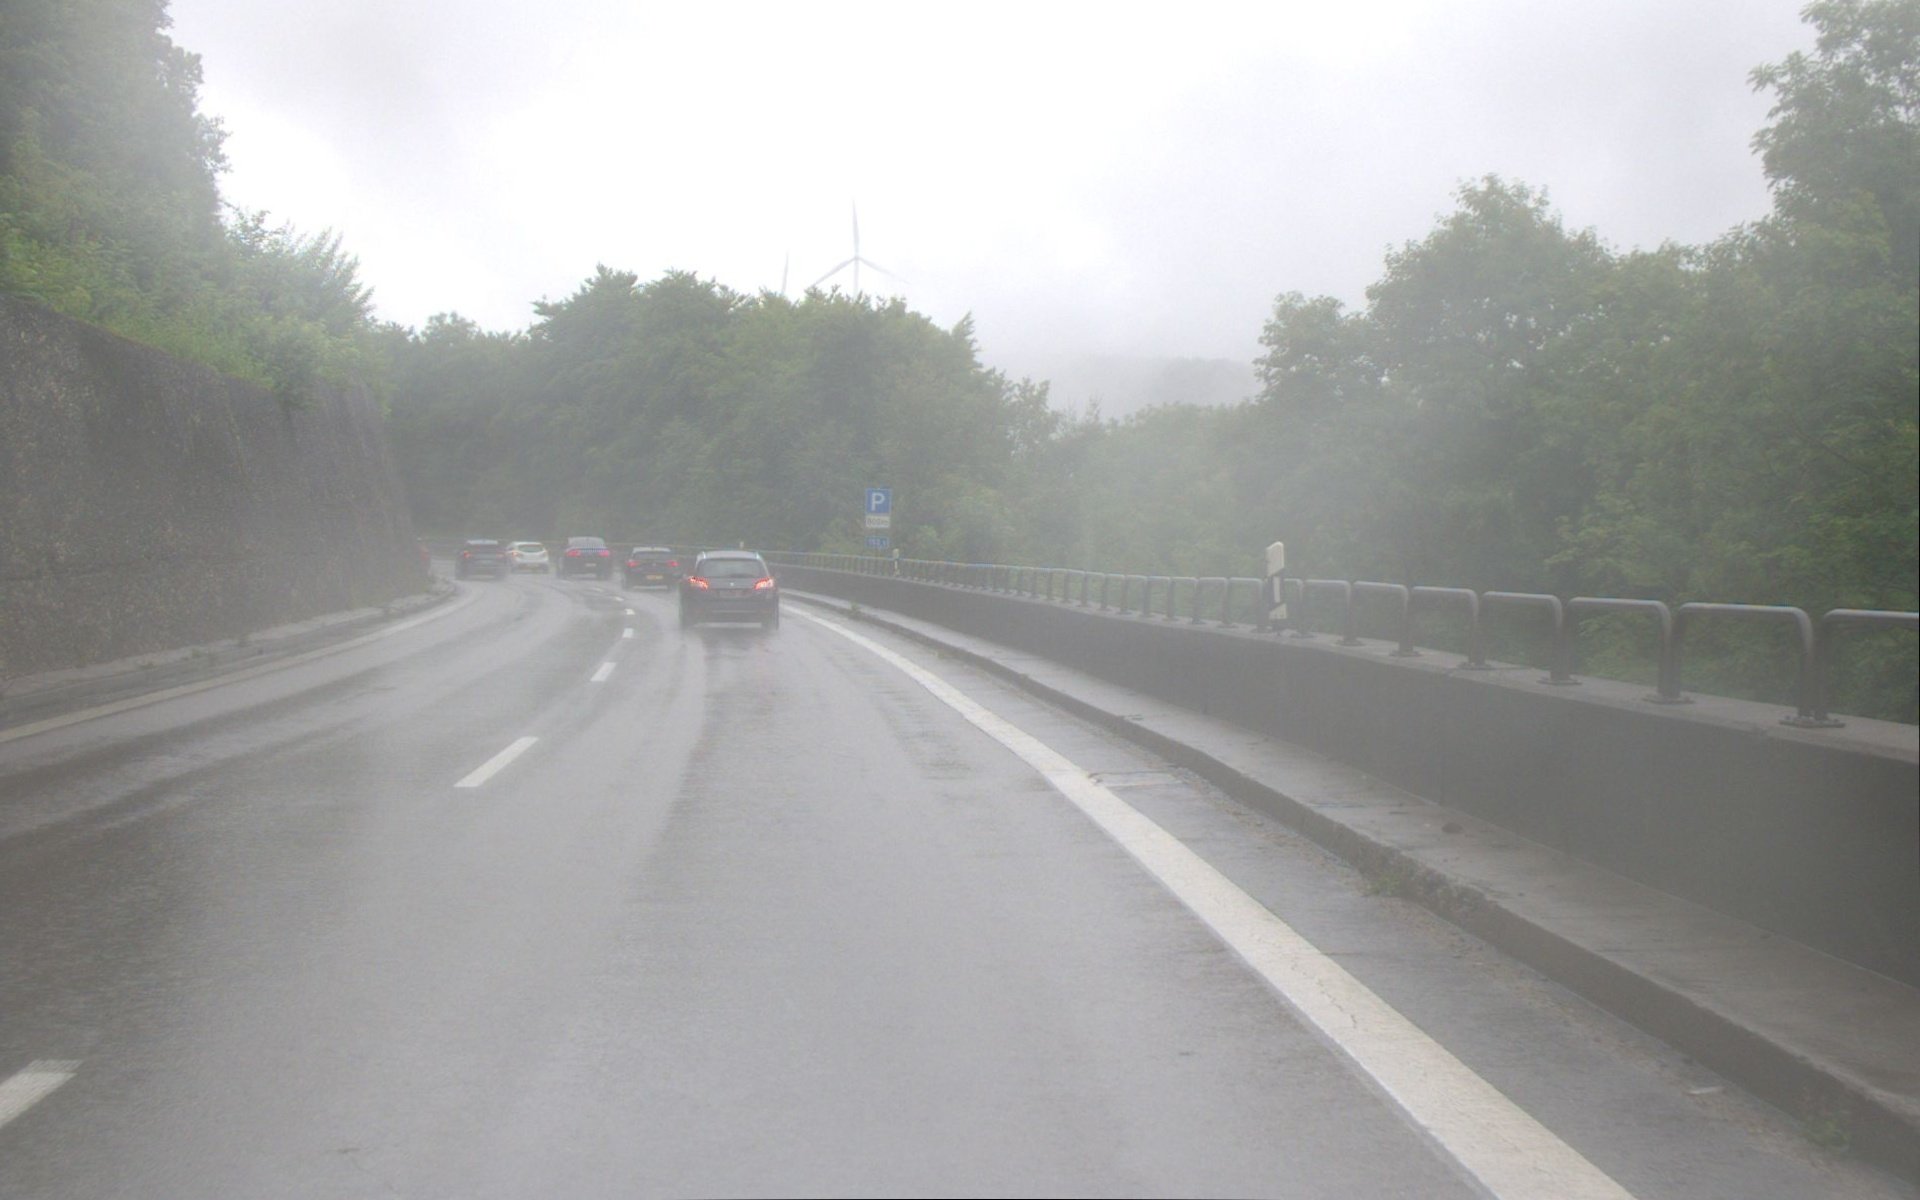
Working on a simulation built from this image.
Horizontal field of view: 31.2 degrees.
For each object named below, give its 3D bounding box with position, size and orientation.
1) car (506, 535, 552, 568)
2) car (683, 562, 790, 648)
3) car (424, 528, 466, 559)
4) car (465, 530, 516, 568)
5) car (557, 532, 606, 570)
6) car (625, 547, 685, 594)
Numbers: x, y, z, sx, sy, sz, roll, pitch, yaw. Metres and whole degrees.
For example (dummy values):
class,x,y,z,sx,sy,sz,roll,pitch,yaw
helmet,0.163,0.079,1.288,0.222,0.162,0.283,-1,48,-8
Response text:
class,x,y,z,sx,sy,sz,roll,pitch,yaw
car,-19.774,-2.220,157.565,1.903,1.494,4.001,1,1,-10
car,-4.154,0.070,63.811,1.903,1.494,4.001,1,1,-4
car,-25.211,-2.781,168.350,1.903,1.494,4.001,1,1,-7
car,-19.076,-2.060,139.723,1.903,1.494,4.001,1,1,-6
car,-15.461,-2.016,140.477,1.903,1.494,4.001,1,1,-5
car,-10.133,-0.998,114.088,1.903,1.494,4.001,1,1,-5
